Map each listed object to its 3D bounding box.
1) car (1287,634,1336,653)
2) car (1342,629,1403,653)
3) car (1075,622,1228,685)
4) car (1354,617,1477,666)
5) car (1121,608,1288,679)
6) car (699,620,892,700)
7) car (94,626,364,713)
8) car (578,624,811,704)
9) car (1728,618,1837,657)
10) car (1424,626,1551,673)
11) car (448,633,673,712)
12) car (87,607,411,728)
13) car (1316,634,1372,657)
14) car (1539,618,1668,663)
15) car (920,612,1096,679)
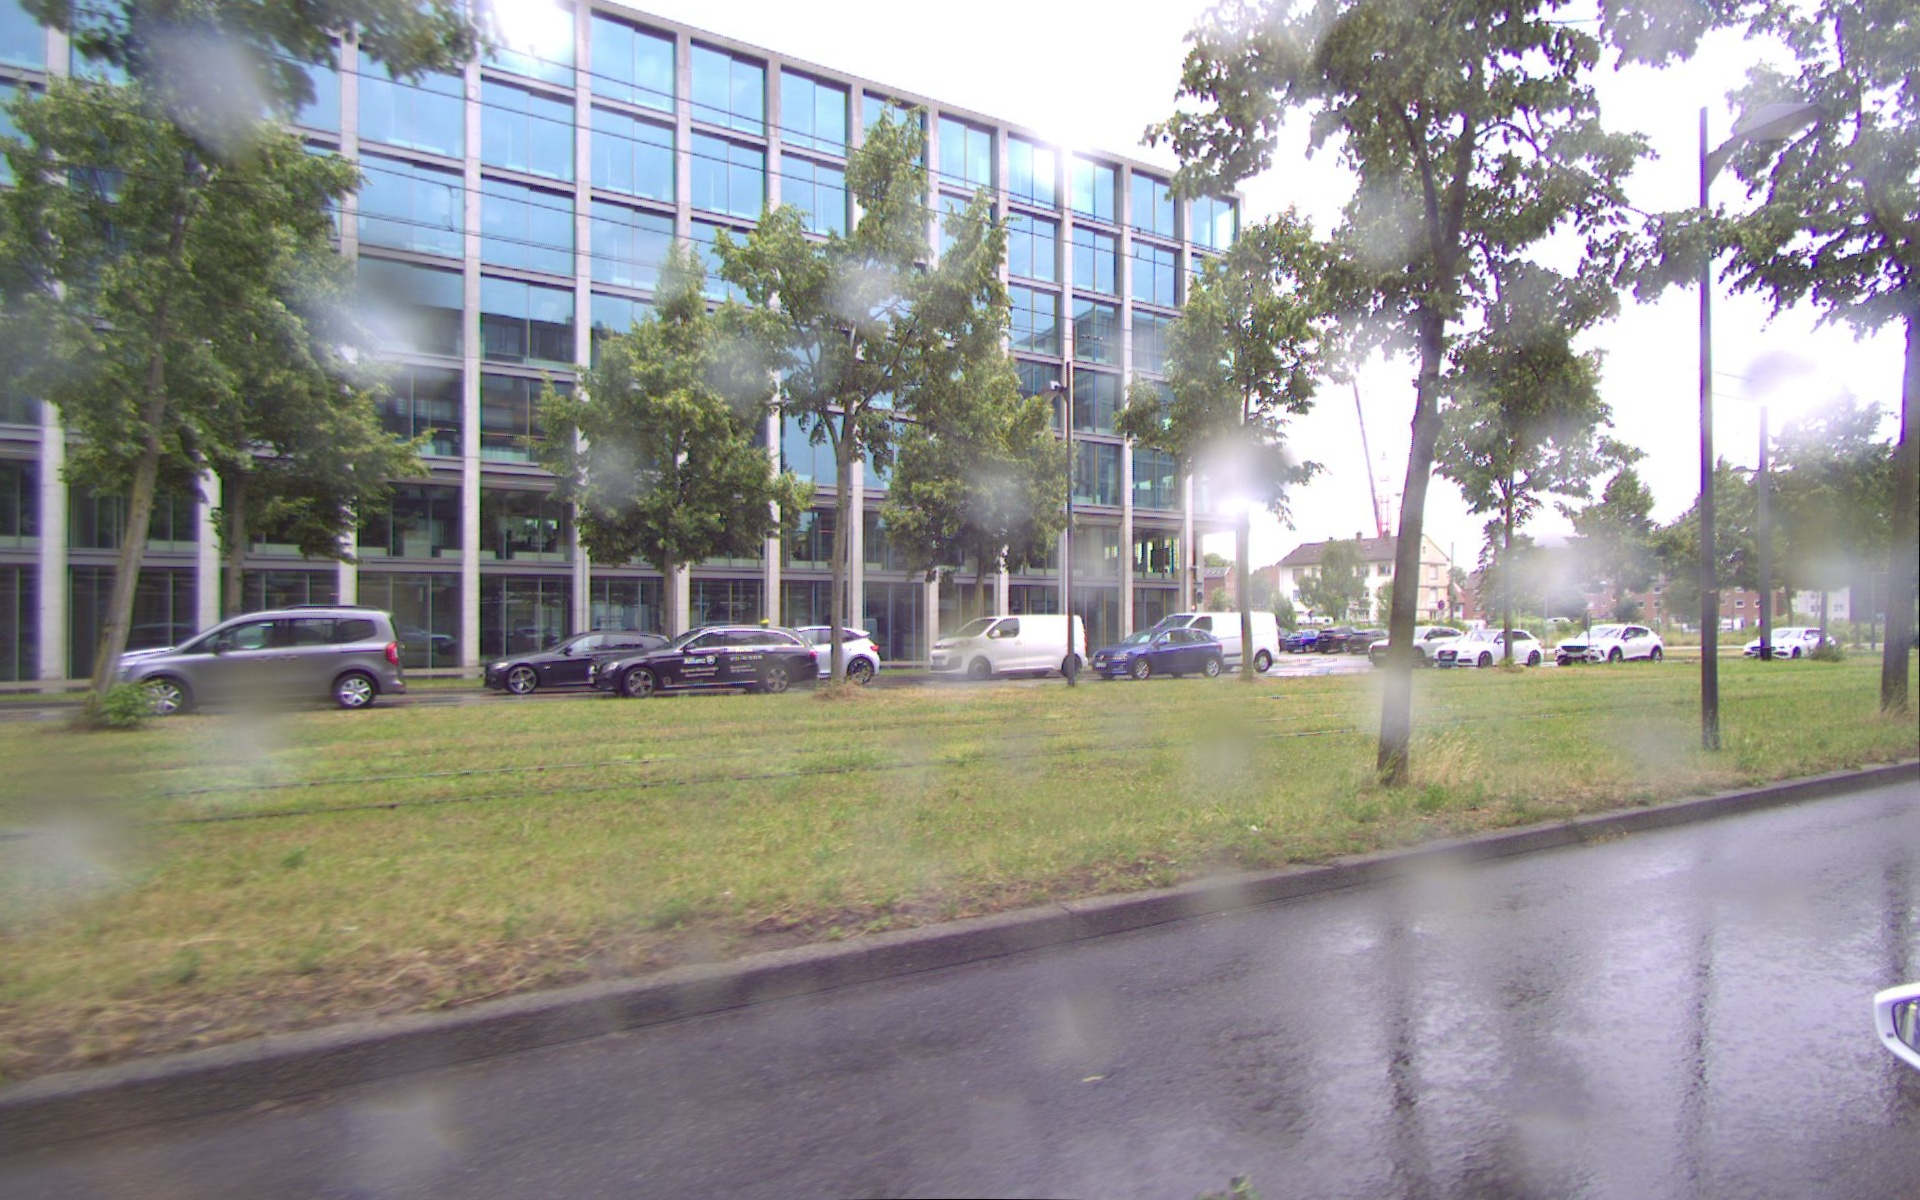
[{"bbox_3d":[23.419,2.901,66.982,3.177,1.082,1.182,-2,0,-26],"label":"car"},{"bbox_3d":[25.688,2.535,62.556,3.612,1.256,1.495,-2,0,-27],"label":"car"},{"bbox_3d":[5.440,1.451,28.454,3.914,1.514,1.942,-2,0,-30],"label":"car"},{"bbox_3d":[17.454,1.555,38.494,4.517,1.772,1.944,1,-1,-27],"label":"car"},{"bbox_3d":[8.218,1.387,33.655,5.306,2.033,2.258,-2,0,-29],"label":"car"},{"bbox_3d":[-4.278,1.509,26.389,4.582,1.769,1.940,-2,0,-32],"label":"car"},{"bbox_3d":[-14.575,1.326,20.376,4.224,1.404,1.940,-2,0,-32],"label":"car"},{"bbox_3d":[-5.731,1.319,21.833,4.551,1.404,1.941,-2,0,-31],"label":"car"},{"bbox_3d":[36.131,1.598,44.112,4.767,1.480,1.944,-2,0,-26],"label":"car"},{"bbox_3d":[18.797,1.713,35.769,4.522,1.533,1.941,1,-1,-30],"label":"car"},{"bbox_3d":[-9.193,1.604,23.260,4.573,1.466,1.848,-2,0,-32],"label":"car"},{"bbox_3d":[-12.371,1.096,17.907,4.490,1.873,1.941,0,-1,-31],"label":"car"},{"bbox_3d":[24.750,2.934,64.744,3.437,1.256,1.373,-2,0,-26],"label":"car"},{"bbox_3d":[22.381,1.357,34.900,4.522,1.471,1.941,1,-1,-30],"label":"car"},{"bbox_3d":[1.474,1.295,29.797,4.973,1.674,1.940,-2,0,-32],"label":"car"}]
